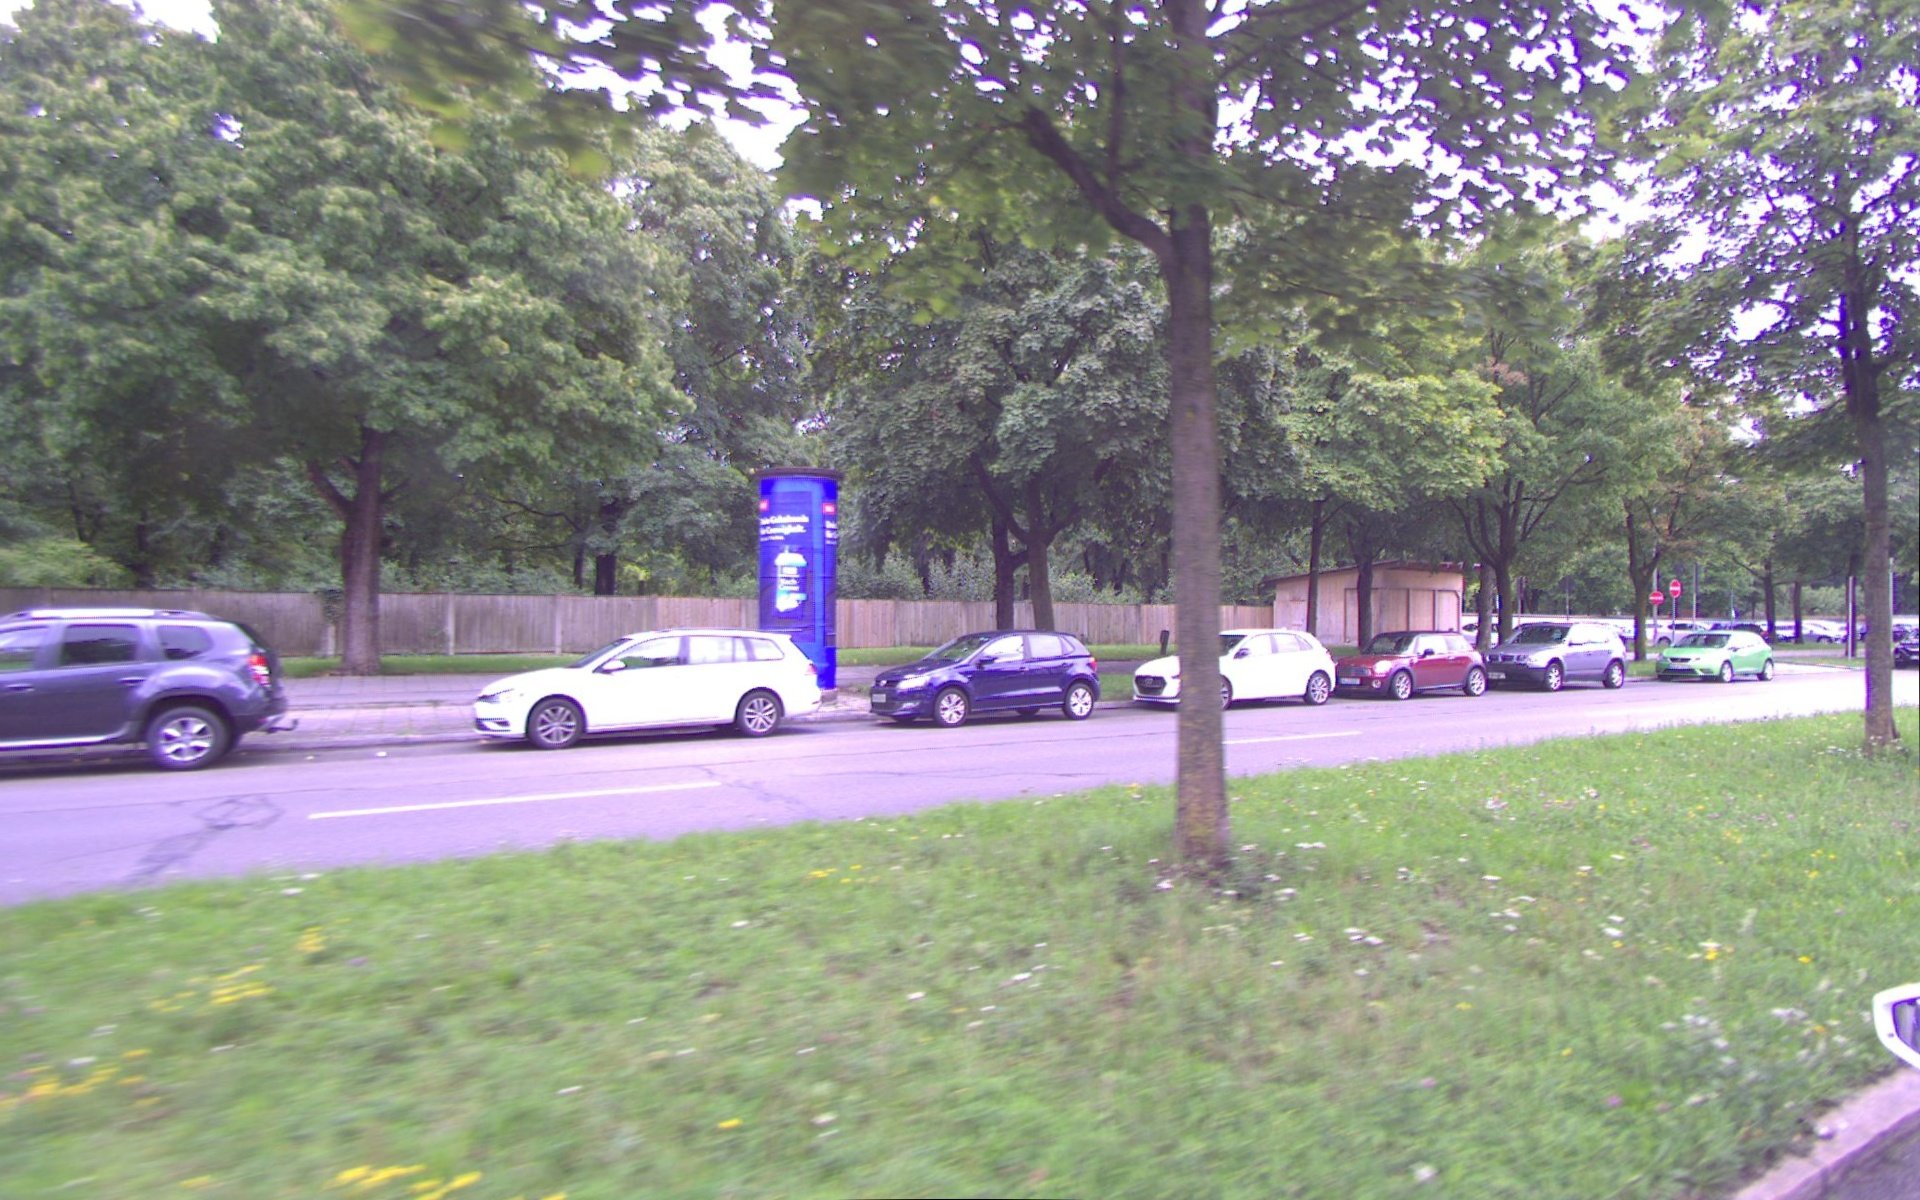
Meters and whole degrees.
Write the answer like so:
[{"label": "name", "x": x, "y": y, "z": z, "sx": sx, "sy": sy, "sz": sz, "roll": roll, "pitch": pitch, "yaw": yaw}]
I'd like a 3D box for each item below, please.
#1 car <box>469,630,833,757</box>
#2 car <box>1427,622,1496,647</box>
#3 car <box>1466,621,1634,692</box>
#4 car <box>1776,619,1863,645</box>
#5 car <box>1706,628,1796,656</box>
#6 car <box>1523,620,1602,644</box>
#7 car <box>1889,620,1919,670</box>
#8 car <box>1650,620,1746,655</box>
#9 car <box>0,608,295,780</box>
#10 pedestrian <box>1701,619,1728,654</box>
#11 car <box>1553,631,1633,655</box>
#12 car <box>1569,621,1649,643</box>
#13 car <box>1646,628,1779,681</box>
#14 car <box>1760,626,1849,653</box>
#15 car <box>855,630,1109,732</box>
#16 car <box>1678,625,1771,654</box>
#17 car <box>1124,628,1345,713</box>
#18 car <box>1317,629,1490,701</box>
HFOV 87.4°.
[{"label": "car", "x": -4.138, "y": 1.158, "z": 13.697, "sx": 4.480, "sy": 1.469, "sz": 1.754, "roll": 1, "pitch": -2, "yaw": -31}, {"label": "car", "x": 26.902, "y": 1.822, "z": 54.025, "sx": 1.639, "sy": 1.217, "sz": 4.421, "roll": 1, "pitch": 0, "yaw": 2}, {"label": "car", "x": 14.560, "y": 1.337, "z": 24.733, "sx": 4.320, "sy": 1.607, "sz": 1.682, "roll": 1, "pitch": -2, "yaw": -31}, {"label": "car", "x": 53.764, "y": 1.973, "z": 62.906, "sx": 1.656, "sy": 1.465, "sz": 3.841, "roll": 1, "pitch": 0, "yaw": -34}, {"label": "car", "x": 46.276, "y": 2.416, "z": 58.851, "sx": 1.656, "sy": 1.465, "sz": 3.841, "roll": 1, "pitch": 0, "yaw": -34}, {"label": "car", "x": 41.876, "y": 2.184, "z": 69.884, "sx": 1.652, "sy": 1.496, "sz": 4.487, "roll": 2, "pitch": 0, "yaw": -29}, {"label": "car", "x": 36.377, "y": 1.677, "z": 37.311, "sx": 3.834, "sy": 1.764, "sz": 1.708, "roll": 1, "pitch": 0, "yaw": -31}, {"label": "car", "x": 40.373, "y": 2.007, "z": 55.012, "sx": 1.656, "sy": 1.741, "sz": 3.893, "roll": 1, "pitch": 0, "yaw": -34}, {"label": "car", "x": -9.570, "y": 0.940, "z": 10.538, "sx": 4.206, "sy": 1.667, "sz": 1.728, "roll": 1, "pitch": -2, "yaw": -31}, {"label": "pedestrian", "x": 33.826, "y": 1.624, "z": 45.046, "sx": 0.712, "sy": 1.554, "sz": 0.724, "roll": 1, "pitch": 0, "yaw": -29}, {"label": "car", "x": 45.246, "y": 3.055, "z": 71.888, "sx": 1.652, "sy": 1.465, "sz": 4.671, "roll": 1, "pitch": 0, "yaw": -29}, {"label": "car", "x": 47.470, "y": 2.331, "z": 73.564, "sx": 1.652, "sy": 1.465, "sz": 4.671, "roll": 1, "pitch": 0, "yaw": -29}, {"label": "car", "x": 21.663, "y": 1.541, "z": 28.895, "sx": 3.829, "sy": 1.428, "sz": 1.542, "roll": 1, "pitch": -2, "yaw": -28}, {"label": "car", "x": 51.235, "y": 2.349, "z": 61.017, "sx": 1.656, "sy": 1.465, "sz": 3.841, "roll": 1, "pitch": 0, "yaw": -34}, {"label": "car", "x": 0.397, "y": 1.222, "z": 16.102, "sx": 3.855, "sy": 1.436, "sz": 1.604, "roll": 1, "pitch": -2, "yaw": -32}, {"label": "car", "x": 42.787, "y": 2.199, "z": 56.301, "sx": 1.656, "sy": 1.465, "sz": 3.841, "roll": 1, "pitch": 0, "yaw": -34}, {"label": "car", "x": 5.303, "y": 1.291, "z": 19.279, "sx": 4.228, "sy": 1.463, "sz": 1.600, "roll": 1, "pitch": -2, "yaw": -30}, {"label": "car", "x": 9.644, "y": 1.363, "z": 21.806, "sx": 3.585, "sy": 1.415, "sz": 1.584, "roll": 1, "pitch": -2, "yaw": -28}]
